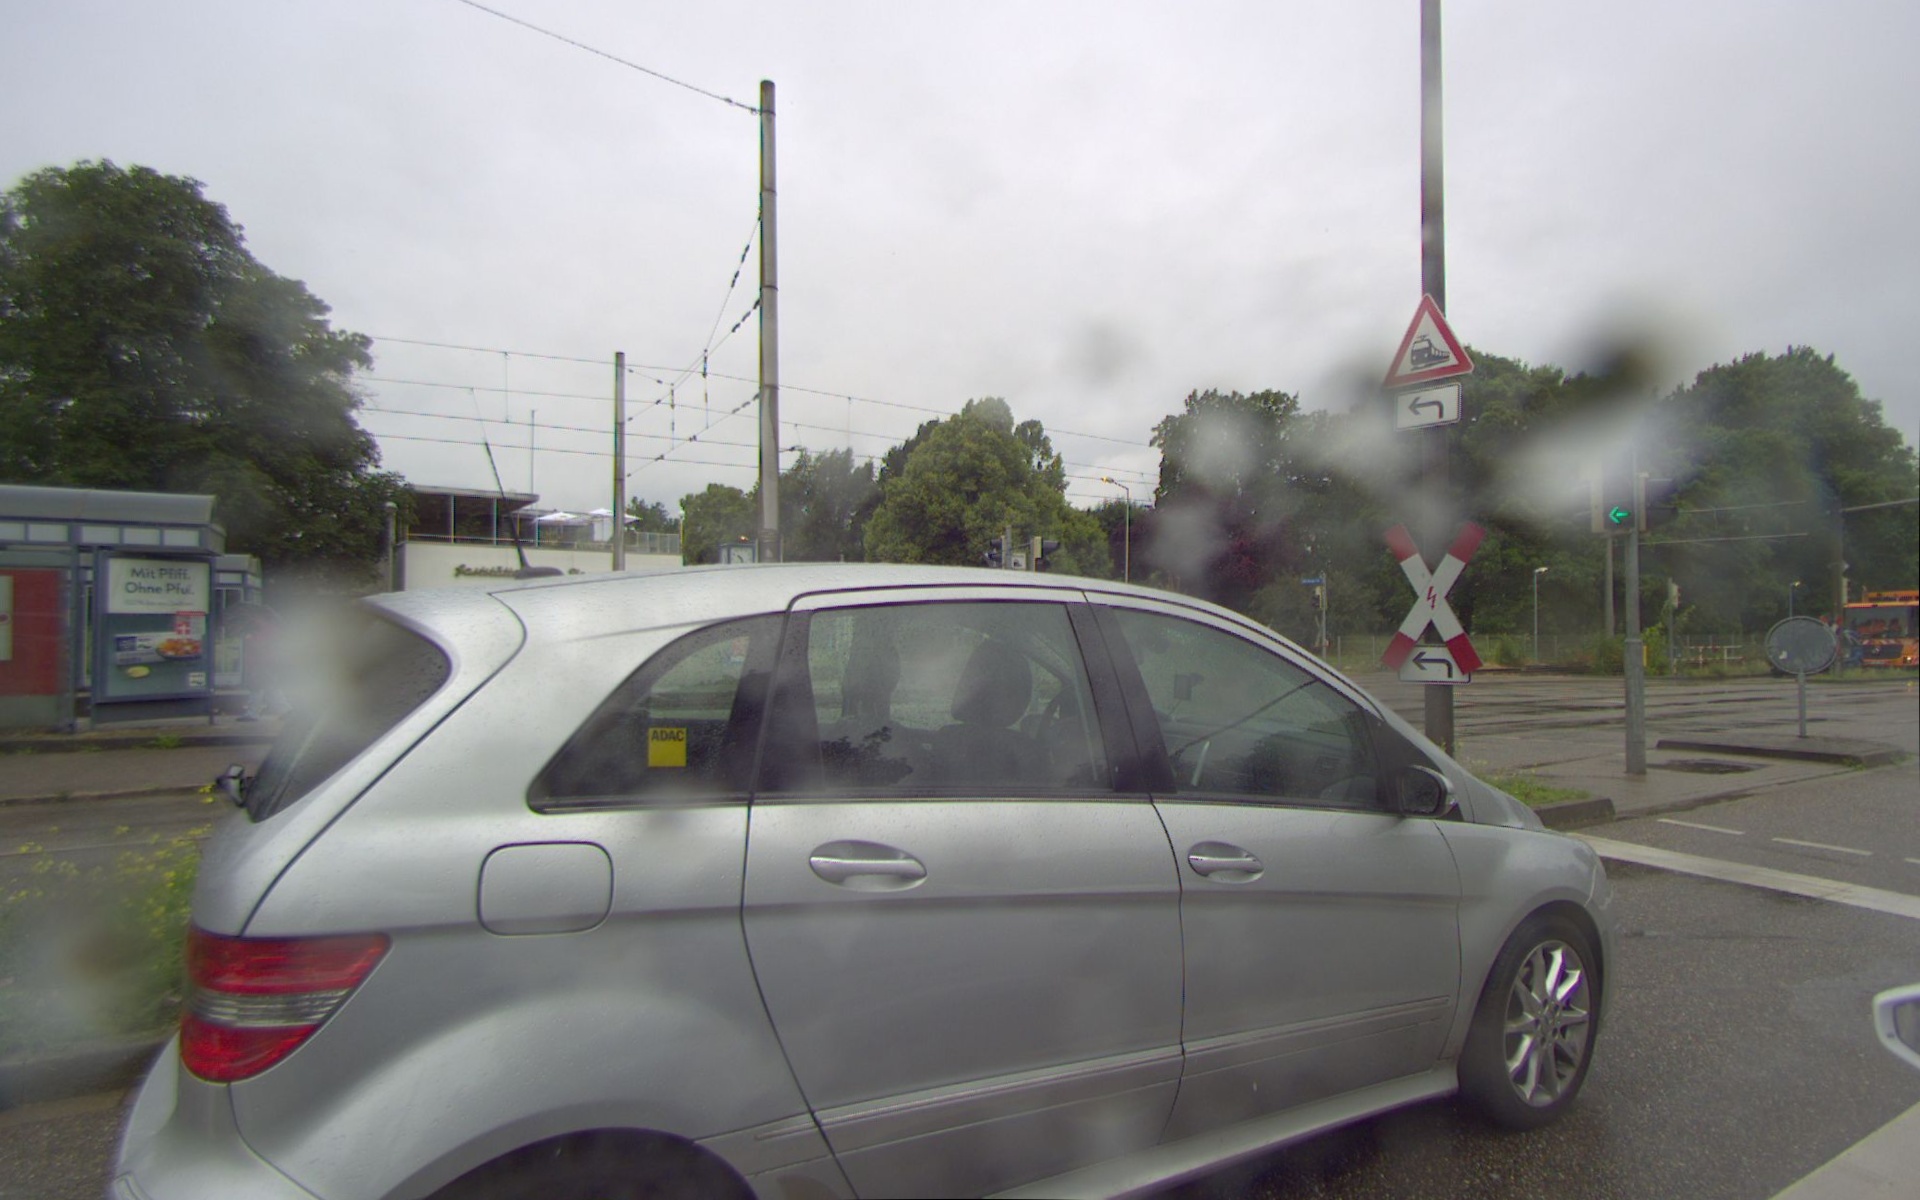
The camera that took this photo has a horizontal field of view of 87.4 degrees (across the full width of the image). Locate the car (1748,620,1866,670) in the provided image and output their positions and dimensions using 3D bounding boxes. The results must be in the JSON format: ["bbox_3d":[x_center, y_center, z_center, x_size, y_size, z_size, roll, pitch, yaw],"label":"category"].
[{"bbox_3d":[31.858,1.687,37.772,4.473,1.732,1.984,2,0,-30],"label":"car"}]

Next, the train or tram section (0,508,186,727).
[{"bbox_3d":[-18.323,0.278,15.853,9.168,3.434,3.517,1,-2,-30],"label":"train or tram section"}]

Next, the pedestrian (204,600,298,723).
[{"bbox_3d":[-10.225,0.862,14.527,0.985,1.698,0.920,1,0,-29],"label":"pedestrian"}]

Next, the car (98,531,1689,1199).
[{"bbox_3d":[0.228,0.739,2.991,3.966,1.564,1.728,1,-1,-30],"label":"car"}]

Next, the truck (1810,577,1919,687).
[{"bbox_3d":[40.449,1.345,42.774,10.287,4.223,3.368,2,0,-31],"label":"truck"}]

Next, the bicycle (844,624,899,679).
[{"bbox_3d":[-2.922,1.699,33.342,1.714,1.784,0.637,1,-1,-30],"label":"bicycle"}]

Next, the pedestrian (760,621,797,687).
[{"bbox_3d":[-4.732,1.397,26.271,0.788,1.679,0.783,1,0,-1],"label":"pedestrian"}]
